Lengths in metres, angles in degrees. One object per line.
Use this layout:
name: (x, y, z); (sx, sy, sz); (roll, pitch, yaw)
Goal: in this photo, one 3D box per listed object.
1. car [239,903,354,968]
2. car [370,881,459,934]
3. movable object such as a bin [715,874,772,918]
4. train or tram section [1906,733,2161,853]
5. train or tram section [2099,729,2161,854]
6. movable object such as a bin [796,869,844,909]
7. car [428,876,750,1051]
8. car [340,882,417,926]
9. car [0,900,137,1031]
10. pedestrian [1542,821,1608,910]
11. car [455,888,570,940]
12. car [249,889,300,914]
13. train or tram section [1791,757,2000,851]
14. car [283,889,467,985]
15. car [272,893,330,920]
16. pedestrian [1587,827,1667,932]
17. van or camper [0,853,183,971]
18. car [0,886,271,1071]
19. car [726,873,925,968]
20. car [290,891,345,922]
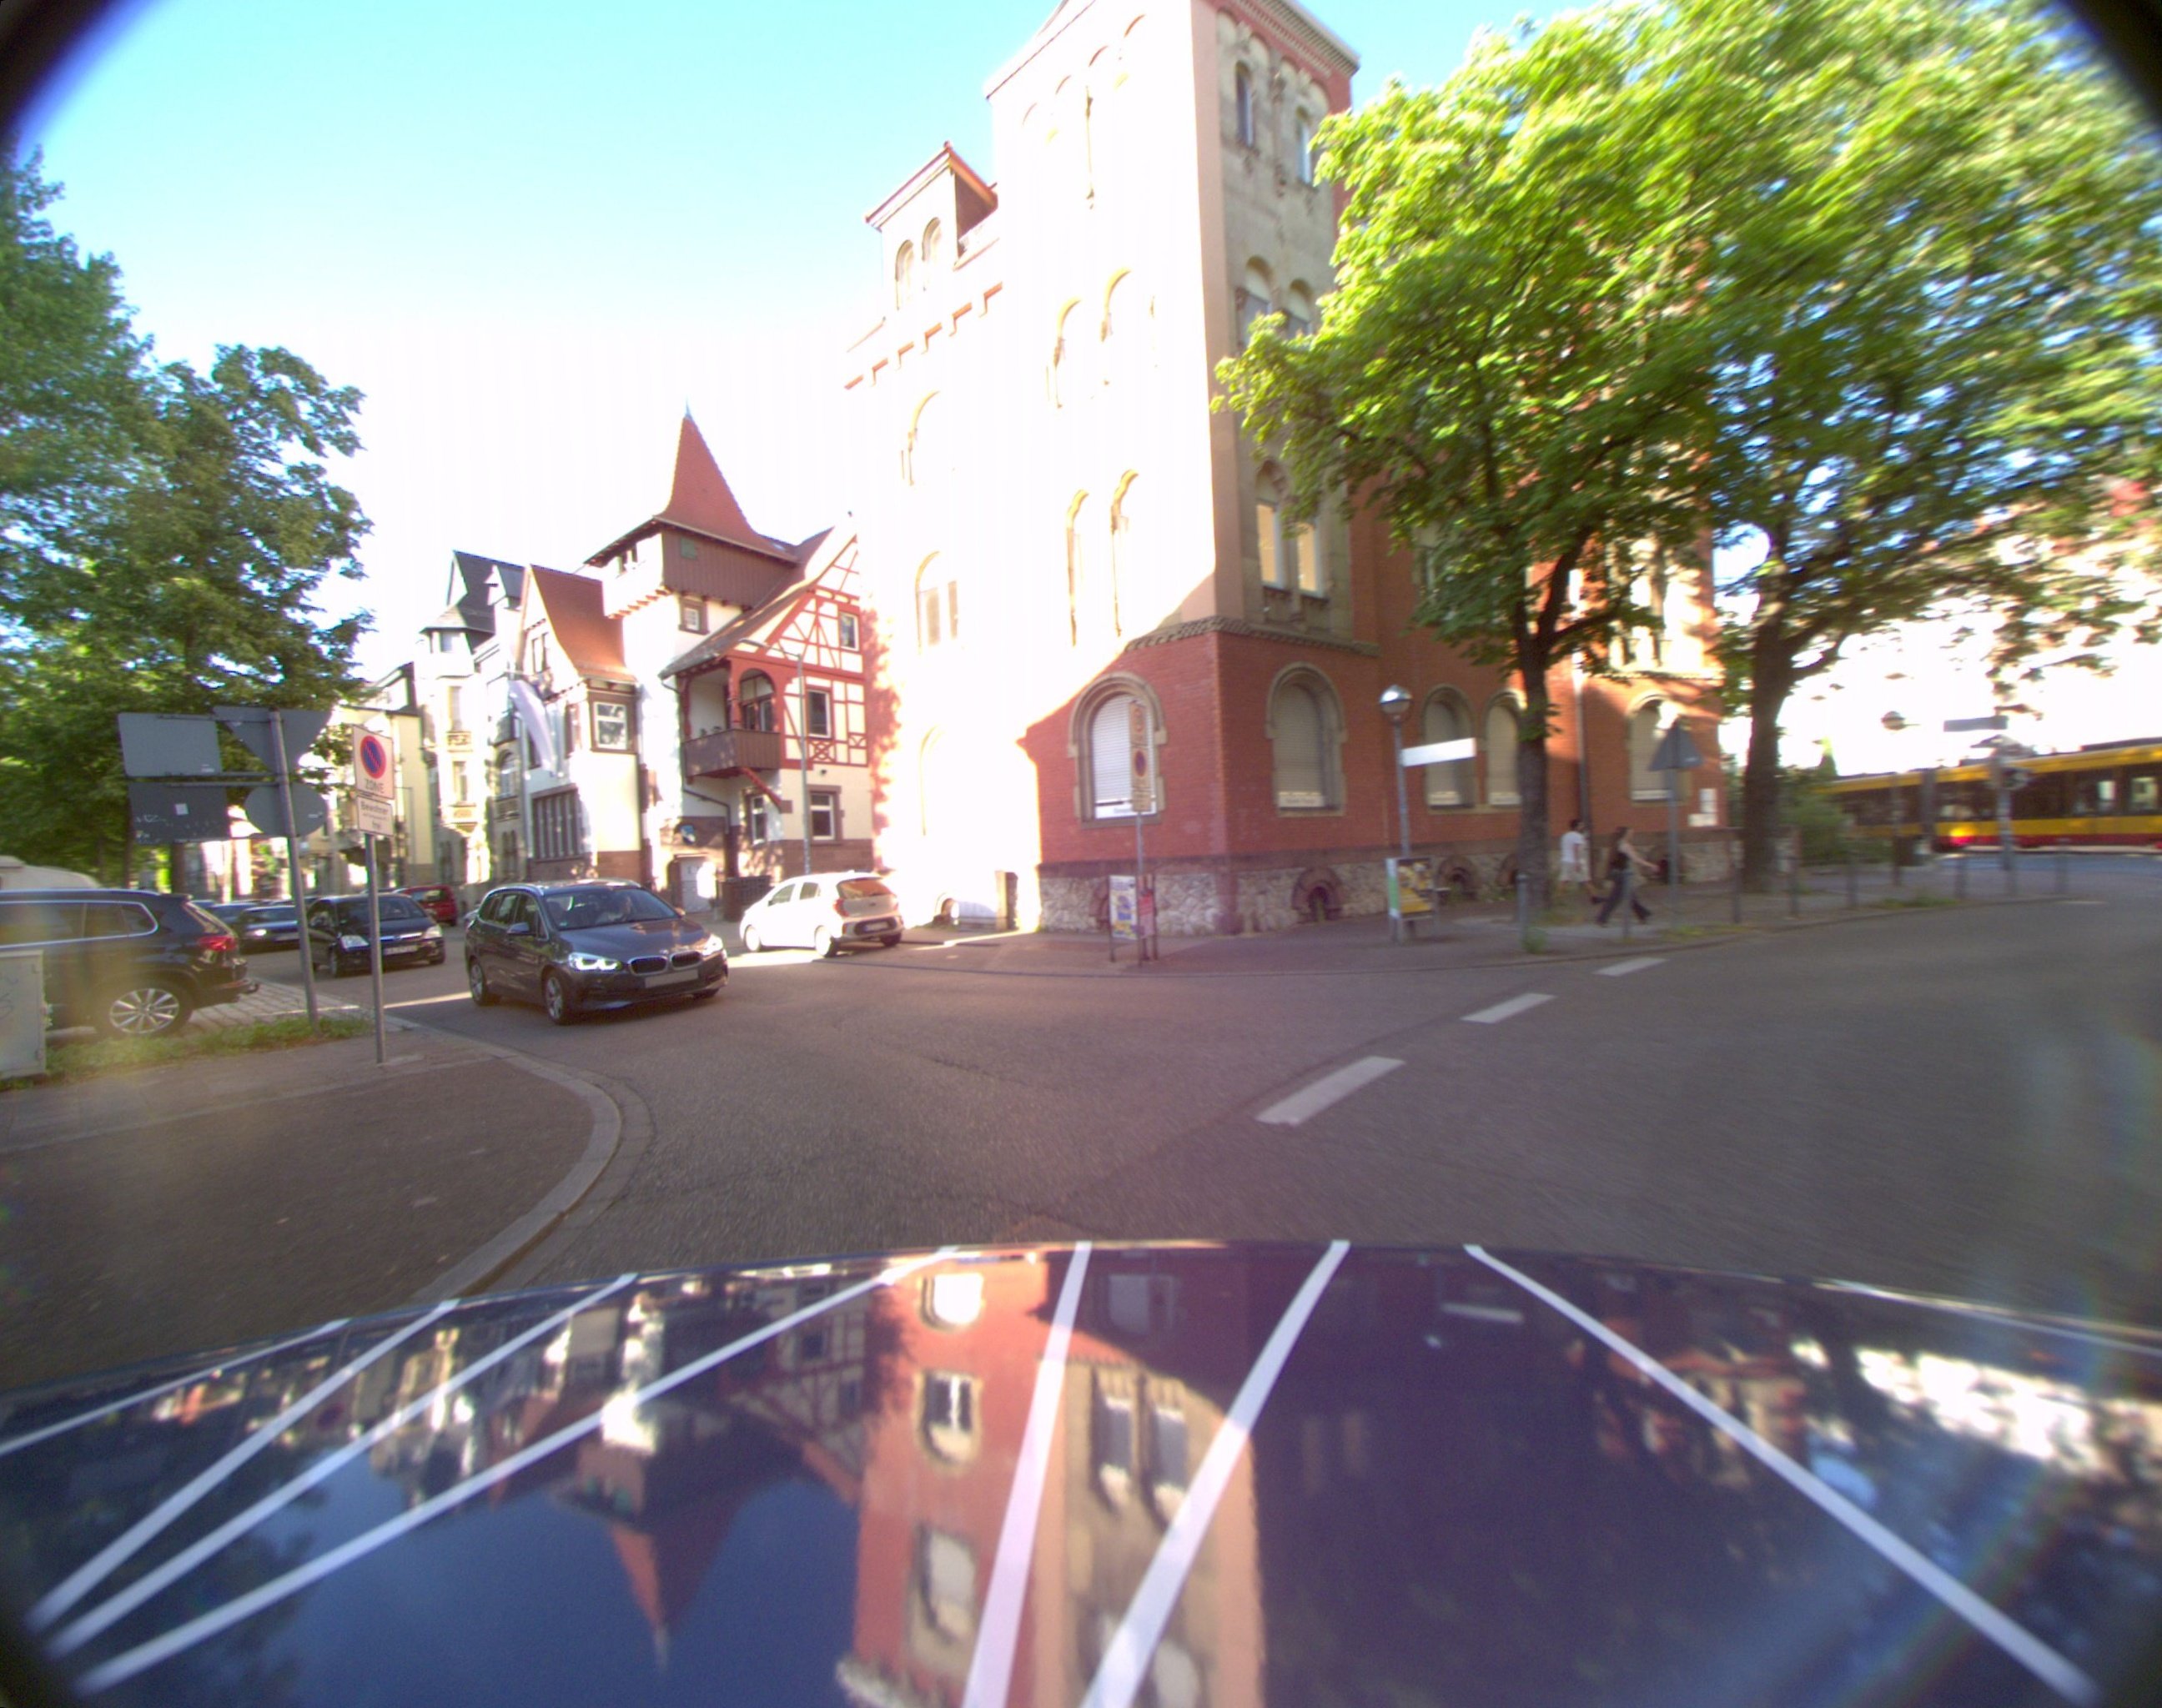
car: (-24.993, 2.496, 24.171); (3.989, 1.745, 2.004); (-3, 0, 37)
car: (-27.949, 2.208, 31.811); (4.313, 1.896, 1.807); (-3, 2, 37)
movable object such as a bin: (-10.874, 1.325, 24.494); (1.383, 1.291, 0.966); (-4, 1, -44)
train or tram section: (34.170, -1.956, 26.906); (2.917, 3.593, 7.868); (-3, 0, 15)
train or tram section: (32.382, -1.849, 20.250); (2.917, 3.619, 6.353); (-3, 0, 15)
movable object such as a bin: (-9.135, 1.215, 26.631); (0.685, 1.310, 1.386); (-3, 1, 30)
car: (-6.465, 1.215, 9.801); (4.504, 1.597, 1.928); (-3, 3, 37)
car: (-33.349, 2.337, 36.050); (4.529, 1.841, 1.778); (-3, 1, 37)
car: (-15.475, 1.572, 9.996); (1.699, 1.641, 3.712); (-2, 0, 40)
pedestrian: (9.511, 0.215, 14.662); (0.858, 1.633, 0.871); (-3, 1, 22)
car: (-18.924, 1.954, 25.252); (4.092, 1.458, 1.753); (-3, 1, 35)
car: (-55.809, 3.300, 52.580); (3.763, 1.459, 1.697); (-3, 5, 34)
train or tram section: (36.114, -2.057, 34.179); (2.929, 3.579, 7.196); (-3, 0, 15)
car: (-14.977, 1.659, 16.056); (4.251, 1.584, 2.003); (-3, 2, 37)
car: (-50.617, 3.374, 49.281); (4.529, 1.431, 1.909); (-3, 4, 36)
pedestrian: (8.576, 0.396, 11.964); (0.853, 1.595, 0.602); (-3, 1, 21)
van or camper: (-29.955, 1.630, 20.457); (2.458, 3.059, 7.113); (-2, 0, 34)
car: (-11.460, 1.298, 7.681); (2.019, 1.702, 4.127); (-3, -1, 33)
car: (-5.036, 1.219, 14.787); (3.787, 1.477, 1.713); (-3, 3, 37)
car: (-43.928, 3.002, 43.699); (2.853, 1.501, 1.691); (-3, 4, 37)
